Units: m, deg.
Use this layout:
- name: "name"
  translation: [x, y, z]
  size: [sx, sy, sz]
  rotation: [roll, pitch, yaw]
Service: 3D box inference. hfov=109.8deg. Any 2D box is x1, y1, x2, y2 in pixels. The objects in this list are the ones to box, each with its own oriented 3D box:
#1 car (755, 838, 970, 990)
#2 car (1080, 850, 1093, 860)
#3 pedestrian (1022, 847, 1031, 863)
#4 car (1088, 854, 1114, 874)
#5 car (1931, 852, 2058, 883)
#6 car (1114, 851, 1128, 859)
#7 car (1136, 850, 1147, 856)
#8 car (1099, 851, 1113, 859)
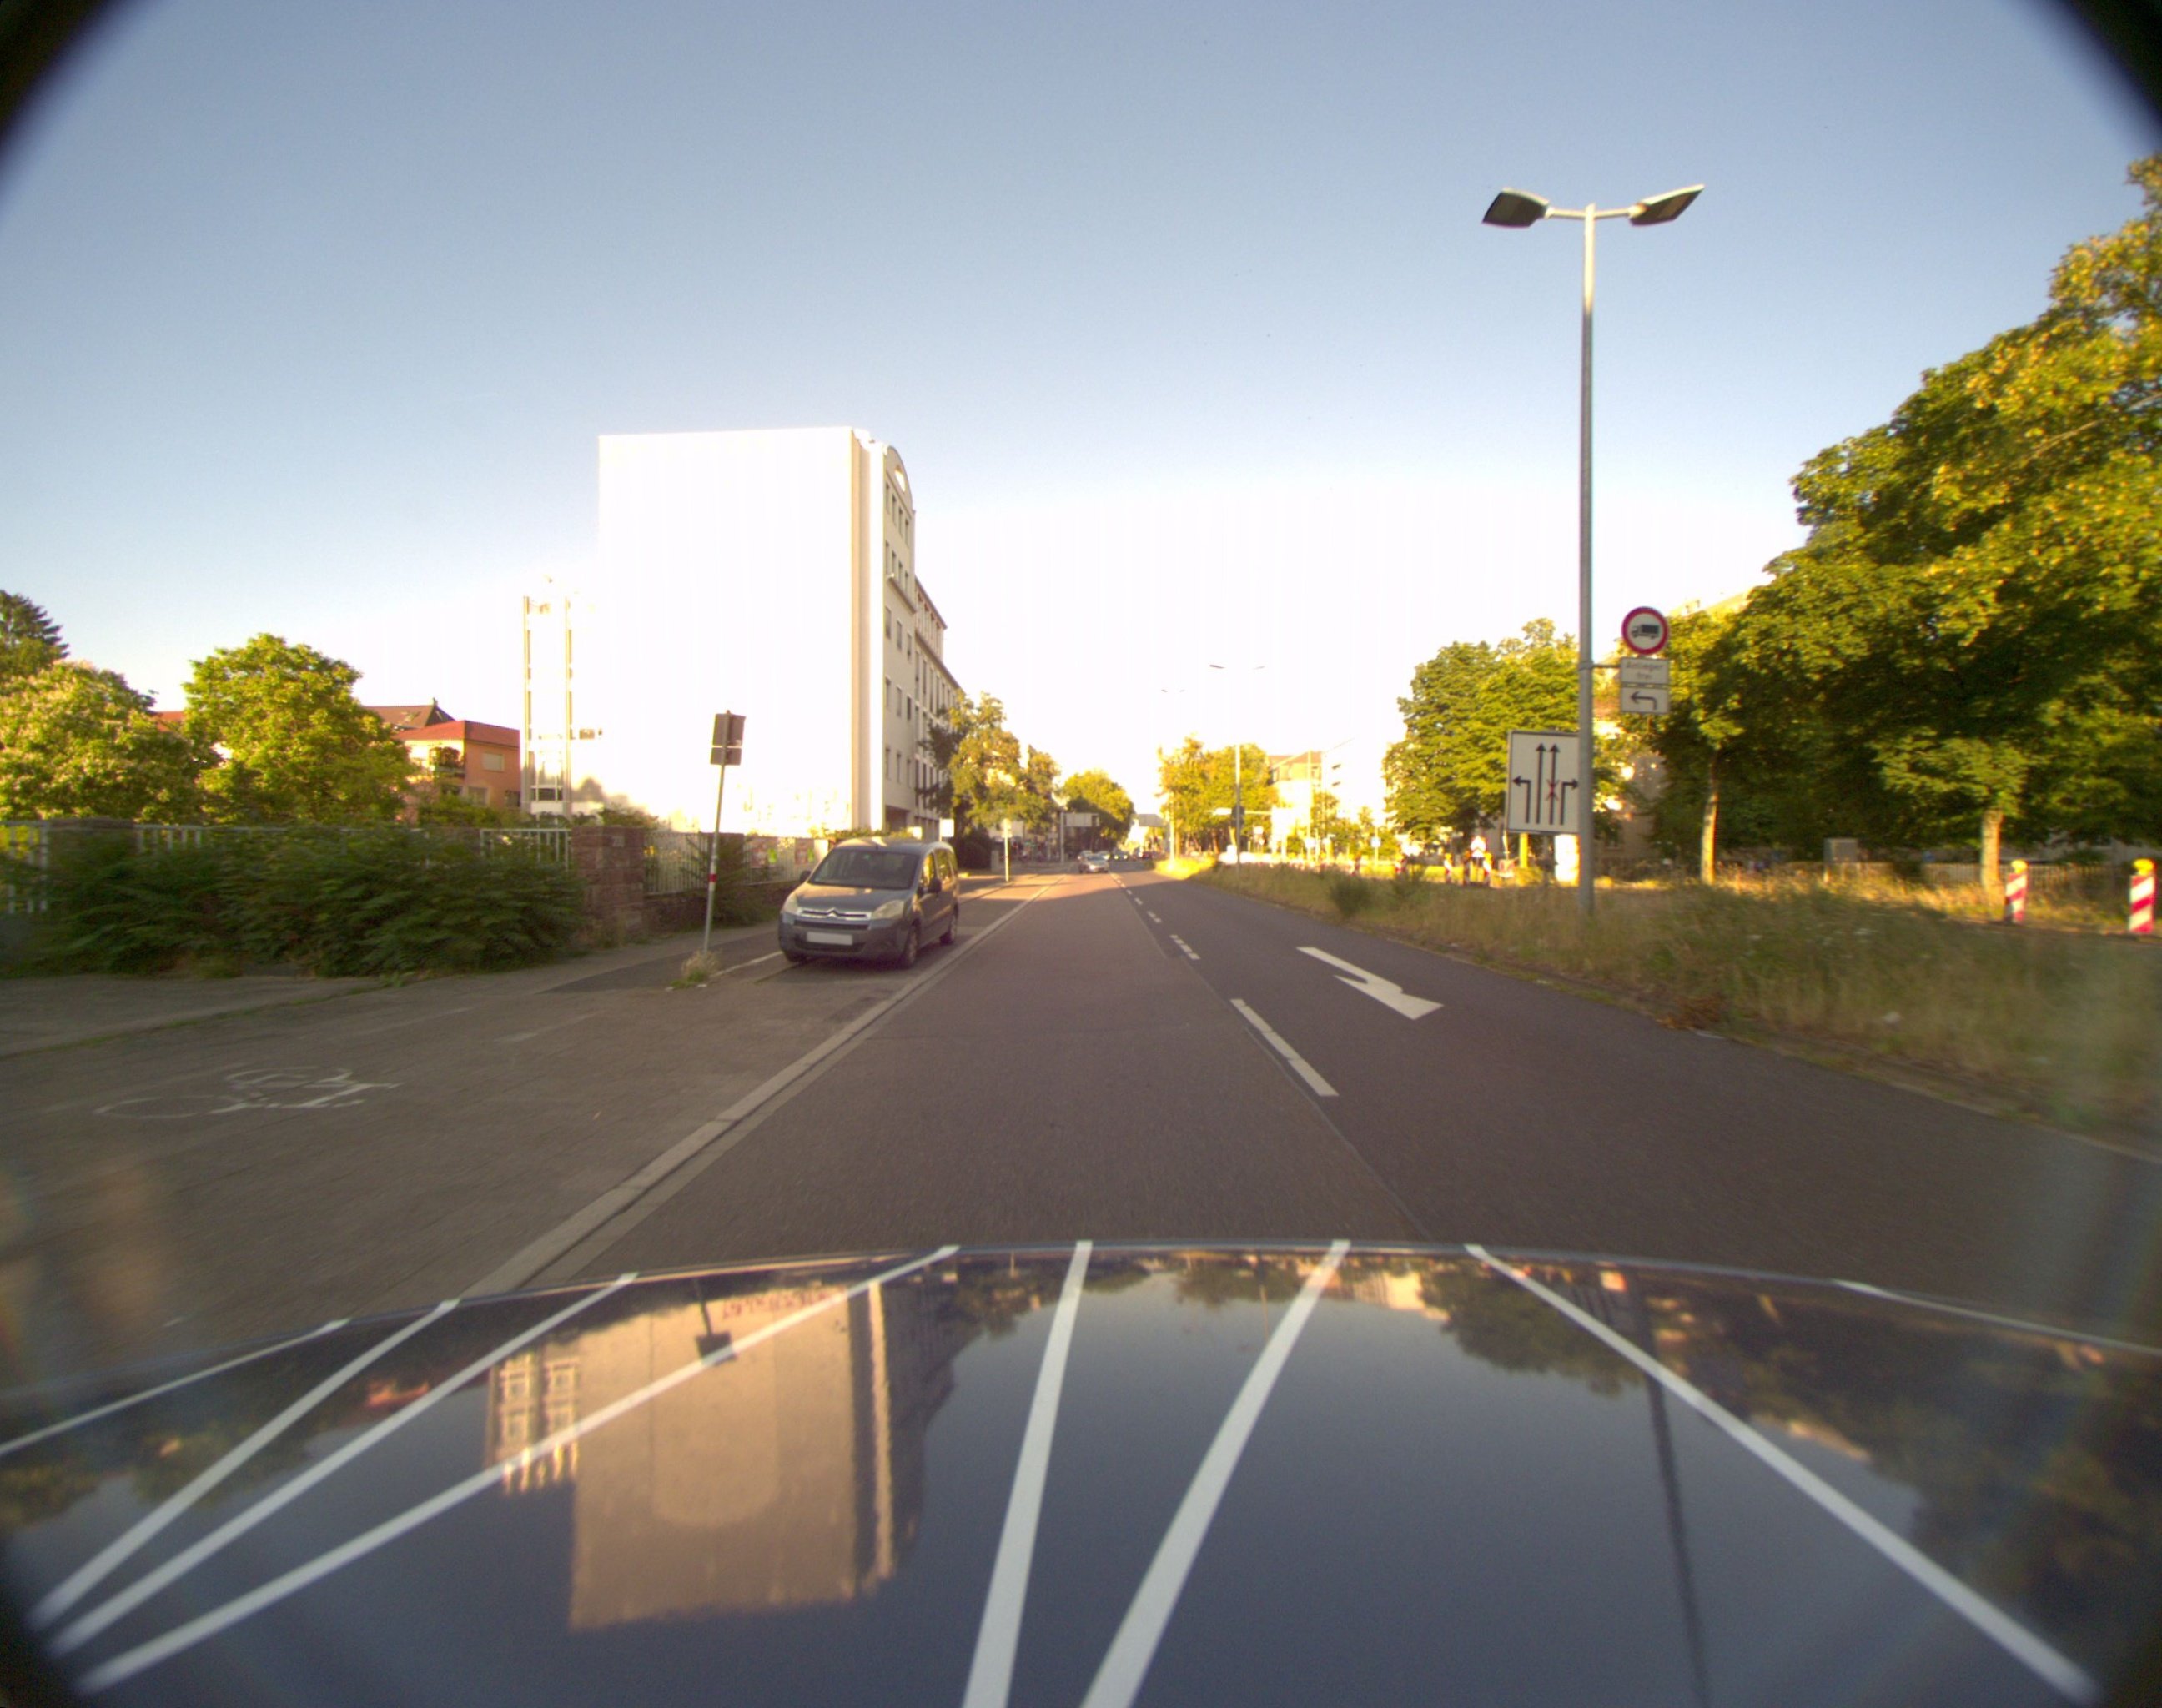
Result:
- name: "car"
  translation: [-3.051, 0.716, 11.705]
  size: [1.778, 1.818, 4.555]
  rotation: [2, 1, 2]
- name: "car"
  translation: [0.921, 0.171, 119.199]
  size: [1.947, 1.514, 4.163]
  rotation: [0, 0, 1]
- name: "pedestrian"
  translation: [-6.093, 0.133, 84.786]
  size: [0.720, 1.835, 0.749]
  rotation: [1, 1, 18]
- name: "car"
  translation: [1.573, 0.740, 59.554]
  size: [1.895, 1.455, 3.966]
  rotation: [0, 0, 2]
- name: "car"
  translation: [46.337, 0.642, 38.680]
  size: [1.698, 1.368, 4.000]
  rotation: [-2, 1, 2]
- name: "car"
  translation: [6.188, 0.139, 118.359]
  size: [1.947, 1.259, 4.163]
  rotation: [0, 0, 1]
- name: "car"
  translation: [12.408, -0.160, 155.060]
  size: [1.947, 1.259, 4.163]
  rotation: [0, 0, 1]
- name: "car"
  translation: [3.826, 0.144, 116.809]
  size: [1.947, 1.259, 4.163]
  rotation: [0, 0, 1]
